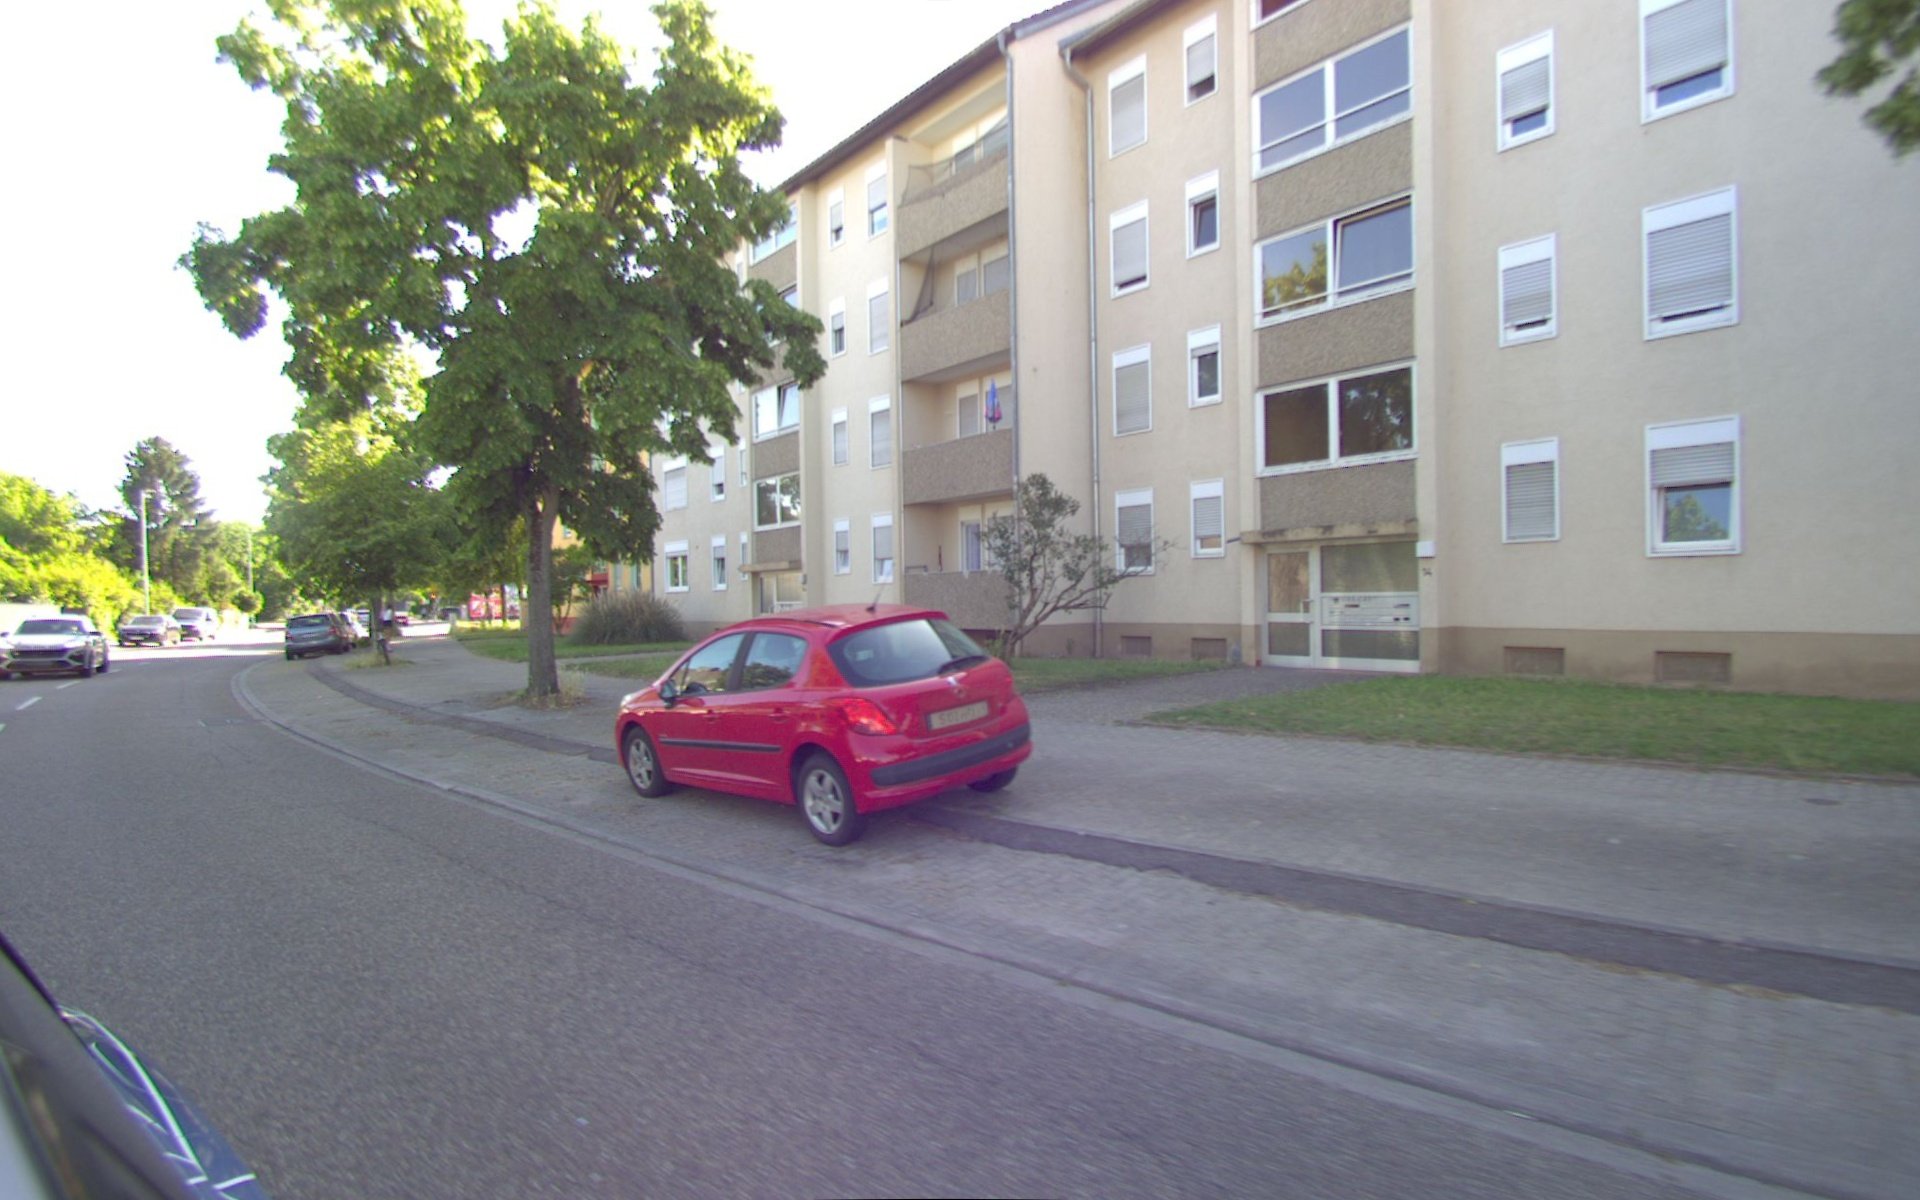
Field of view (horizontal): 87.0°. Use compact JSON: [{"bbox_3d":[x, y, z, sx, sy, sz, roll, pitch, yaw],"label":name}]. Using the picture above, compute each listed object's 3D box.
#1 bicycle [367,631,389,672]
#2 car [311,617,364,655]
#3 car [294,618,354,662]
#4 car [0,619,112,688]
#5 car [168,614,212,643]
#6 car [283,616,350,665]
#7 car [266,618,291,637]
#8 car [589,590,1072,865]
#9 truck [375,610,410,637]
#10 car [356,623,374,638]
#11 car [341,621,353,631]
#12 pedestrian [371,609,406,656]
[{"bbox_3d":[-15.052,1.324,26.180,0.352,1.015,1.202,-2,-1,-35],"label":"bicycle"},{"bbox_3d":[-26.793,1.536,43.647,1.624,1.551,3.715,-1,-1,-27],"label":"car"},{"bbox_3d":[-24.550,1.522,39.135,1.624,1.551,3.715,-1,-1,-27],"label":"car"},{"bbox_3d":[-22.940,1.303,25.707,1.555,1.590,3.714,-1,-1,-31],"label":"car"},{"bbox_3d":[-44.523,1.631,58.572,1.613,1.590,3.714,-1,-1,-31],"label":"car"},{"bbox_3d":[-22.383,1.384,35.298,1.624,1.551,3.715,-1,-1,-27],"label":"car"},{"bbox_3d":[-59.539,2.378,88.494,1.613,1.590,3.714,-1,-1,-31],"label":"car"},{"bbox_3d":[-1.199,0.777,7.877,1.638,1.504,3.911,-6,3,-44],"label":"car"},{"bbox_3d":[-52.388,2.150,93.473,2.373,2.384,4.541,-1,-1,-24],"label":"truck"},{"bbox_3d":[-61.040,3.159,103.837,1.522,1.476,3.714,-1,-1,-31],"label":"car"},{"bbox_3d":[-90.268,3.863,149.035,1.522,1.476,3.714,-1,-1,-31],"label":"car"},{"bbox_3d":[-20.724,1.169,36.730,0.945,1.641,0.735,-1,-1,-15],"label":"pedestrian"}]
